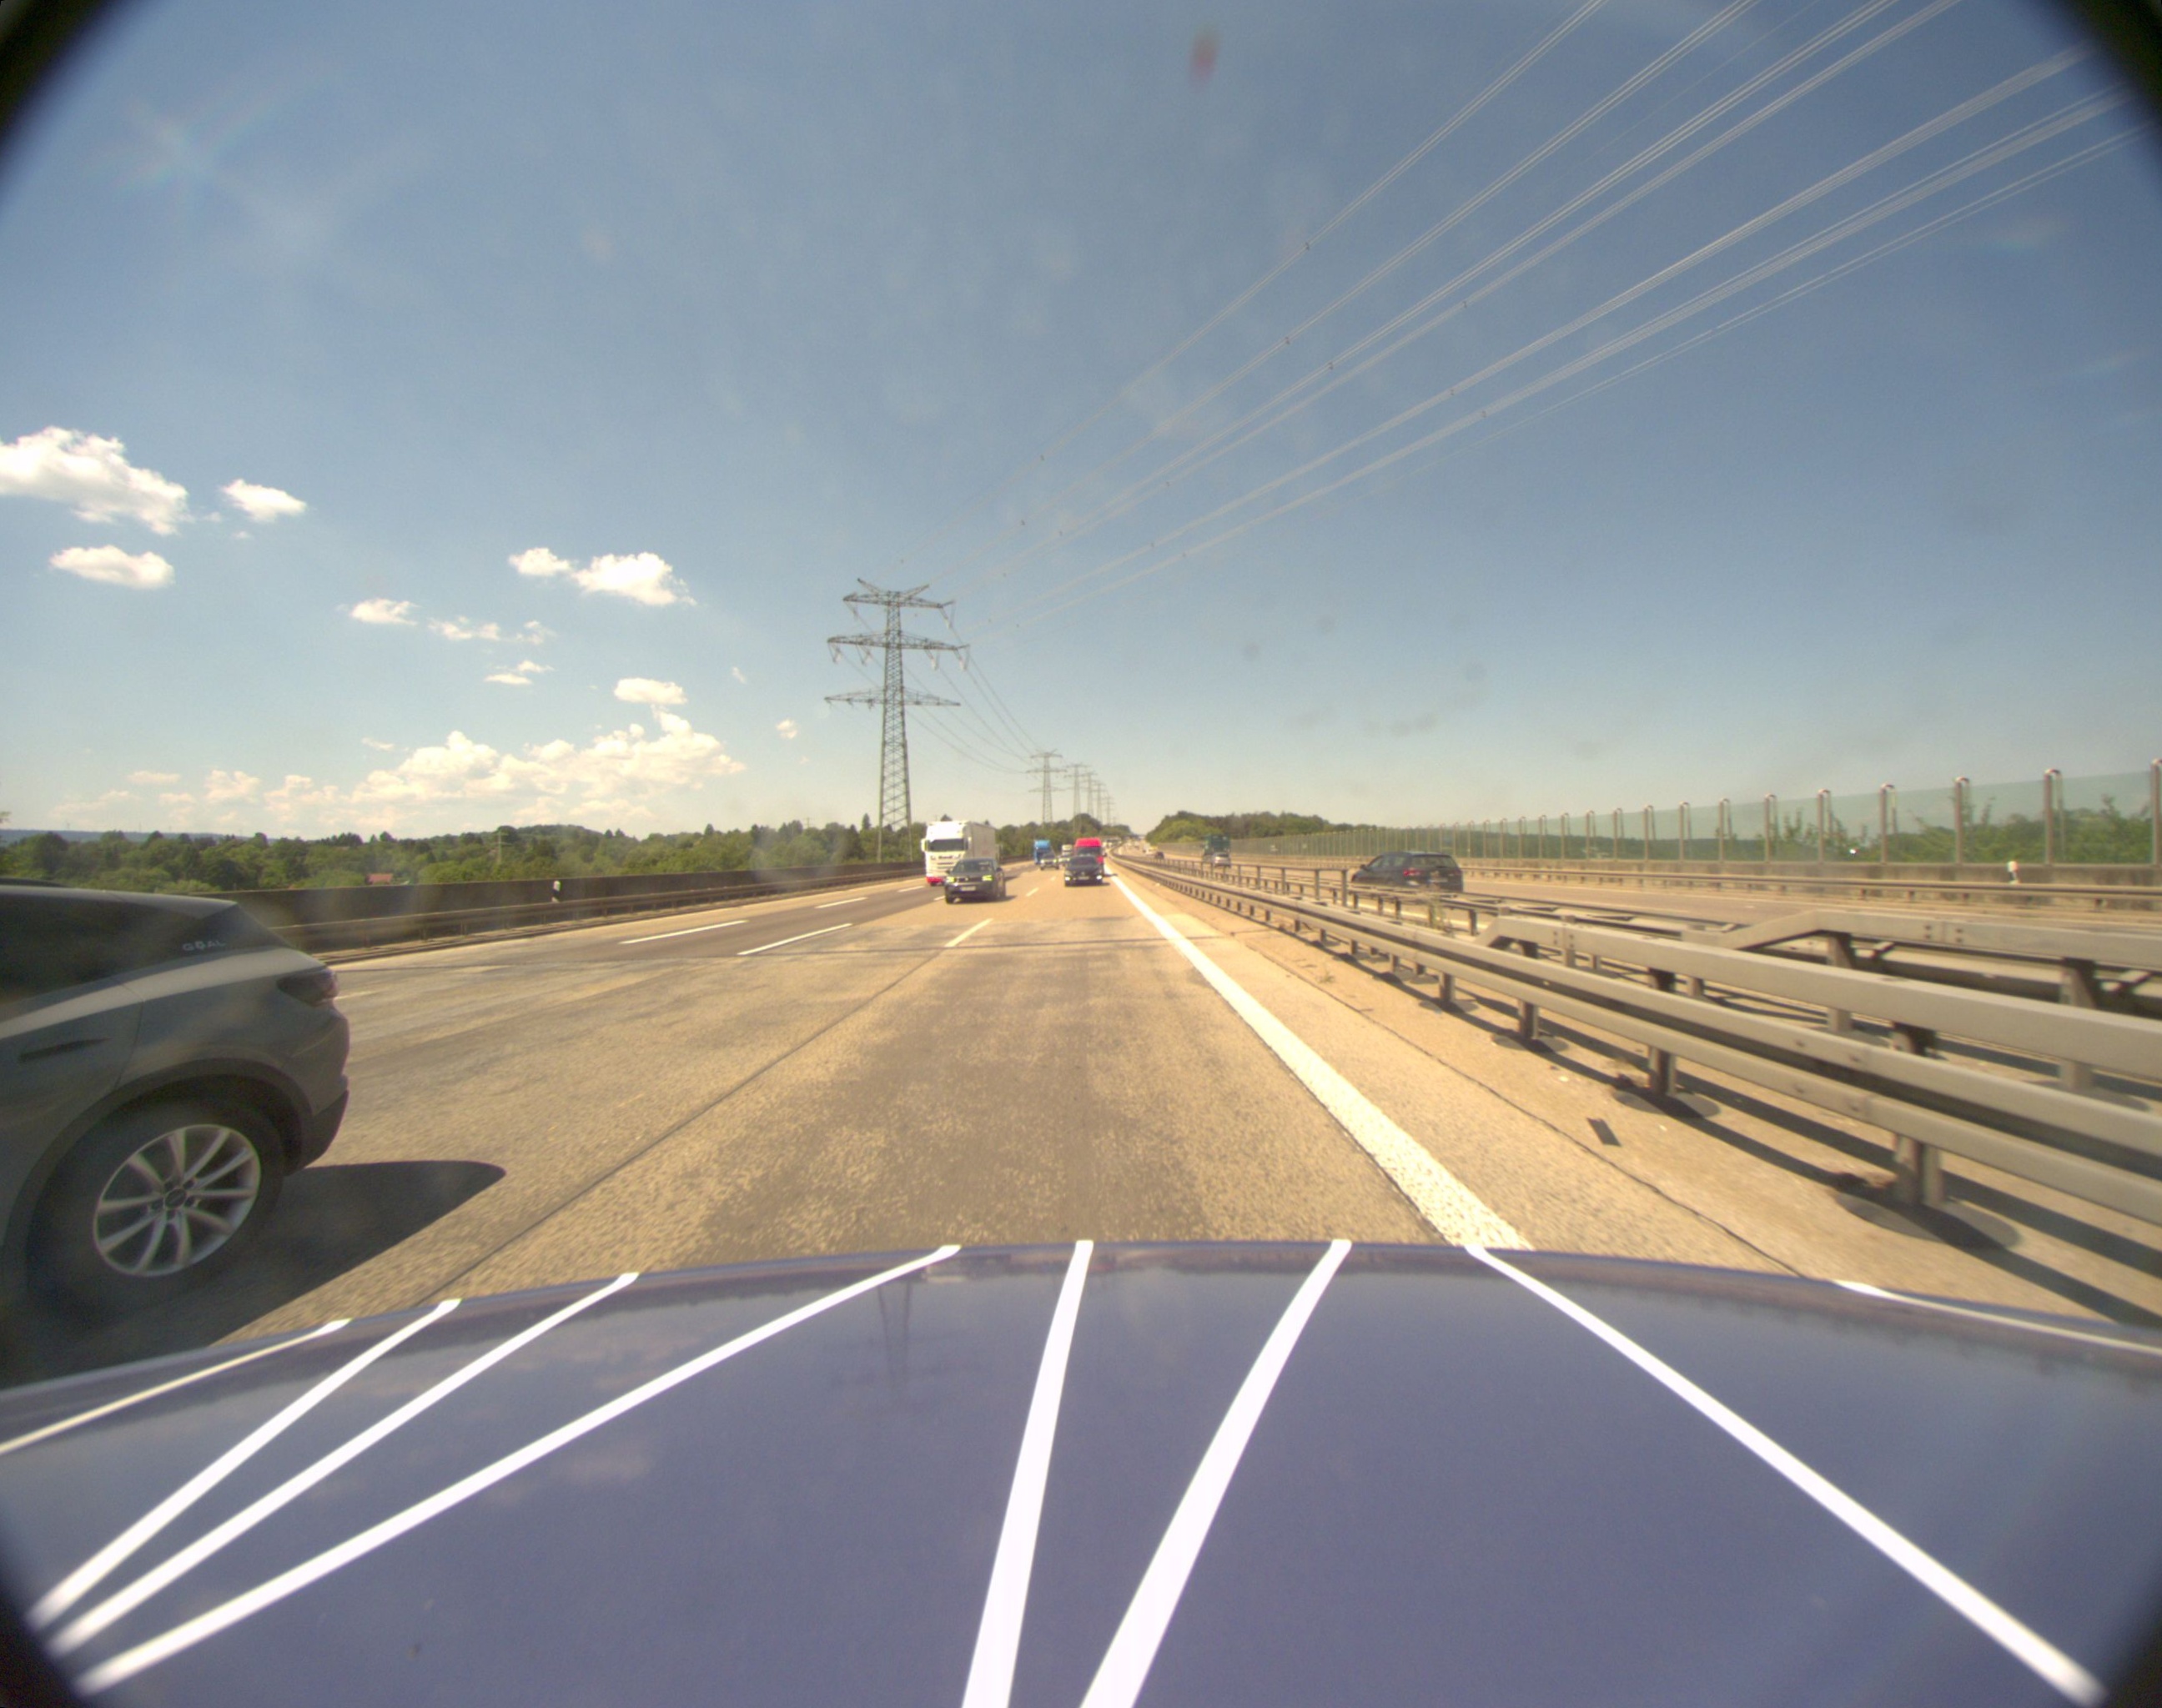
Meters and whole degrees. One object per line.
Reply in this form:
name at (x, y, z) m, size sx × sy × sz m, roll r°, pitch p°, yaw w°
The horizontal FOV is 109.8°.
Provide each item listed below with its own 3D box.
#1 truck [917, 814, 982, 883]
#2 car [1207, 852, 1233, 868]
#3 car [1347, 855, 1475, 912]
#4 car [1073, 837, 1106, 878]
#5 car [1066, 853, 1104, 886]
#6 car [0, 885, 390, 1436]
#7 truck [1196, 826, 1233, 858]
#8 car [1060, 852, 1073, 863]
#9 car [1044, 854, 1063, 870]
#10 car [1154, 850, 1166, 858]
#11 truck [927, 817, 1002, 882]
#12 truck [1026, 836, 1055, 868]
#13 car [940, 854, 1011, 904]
truck at (-7.949, -0.298, 46.442) m, size 3.076 × 3.885 × 3.847 m, roll -3°, pitch 0°, yaw 0°
car at (14.253, 0.601, 78.044) m, size 1.786 × 1.595 × 4.047 m, roll -1°, pitch -1°, yaw -1°
car at (9.426, 0.774, 22.143) m, size 1.786 × 1.465 × 4.489 m, roll -1°, pitch 0°, yaw 0°
car at (0.572, 0.231, 51.361) m, size 2.100 × 2.598 × 4.496 m, roll -1°, pitch 0°, yaw 1°
car at (0.214, 0.725, 37.449) m, size 1.736 × 1.535 × 3.750 m, roll 0°, pitch 0°, yaw 1°
car at (-4.277, 1.005, 1.306) m, size 1.873 × 1.627 × 4.585 m, roll -3°, pitch 0°, yaw 1°
truck at (18.452, -1.585, 105.765) m, size 3.315 × 4.113 × 11.091 m, roll 1°, pitch 0°, yaw 1°
car at (-2.272, 0.559, 116.935) m, size 1.879 × 1.591 × 3.688 m, roll -1°, pitch 0°, yaw 1°
car at (-2.845, 0.806, 79.600) m, size 1.749 × 1.691 × 4.088 m, roll -1°, pitch 0°, yaw 1°
car at (15.821, 0.017, 152.289) m, size 1.955 × 1.557 × 4.047 m, roll -1°, pitch 0°, yaw 1°
truck at (-7.884, -0.279, 53.331) m, size 3.076 × 3.884 × 12.504 m, roll -3°, pitch 0°, yaw 1°
truck at (-6.743, -0.285, 130.285) m, size 3.798 × 4.970 × 14.924 m, roll -3°, pitch 0°, yaw 1°
car at (-3.831, 0.869, 28.212) m, size 1.955 × 1.636 × 4.047 m, roll -3°, pitch 0°, yaw 1°
